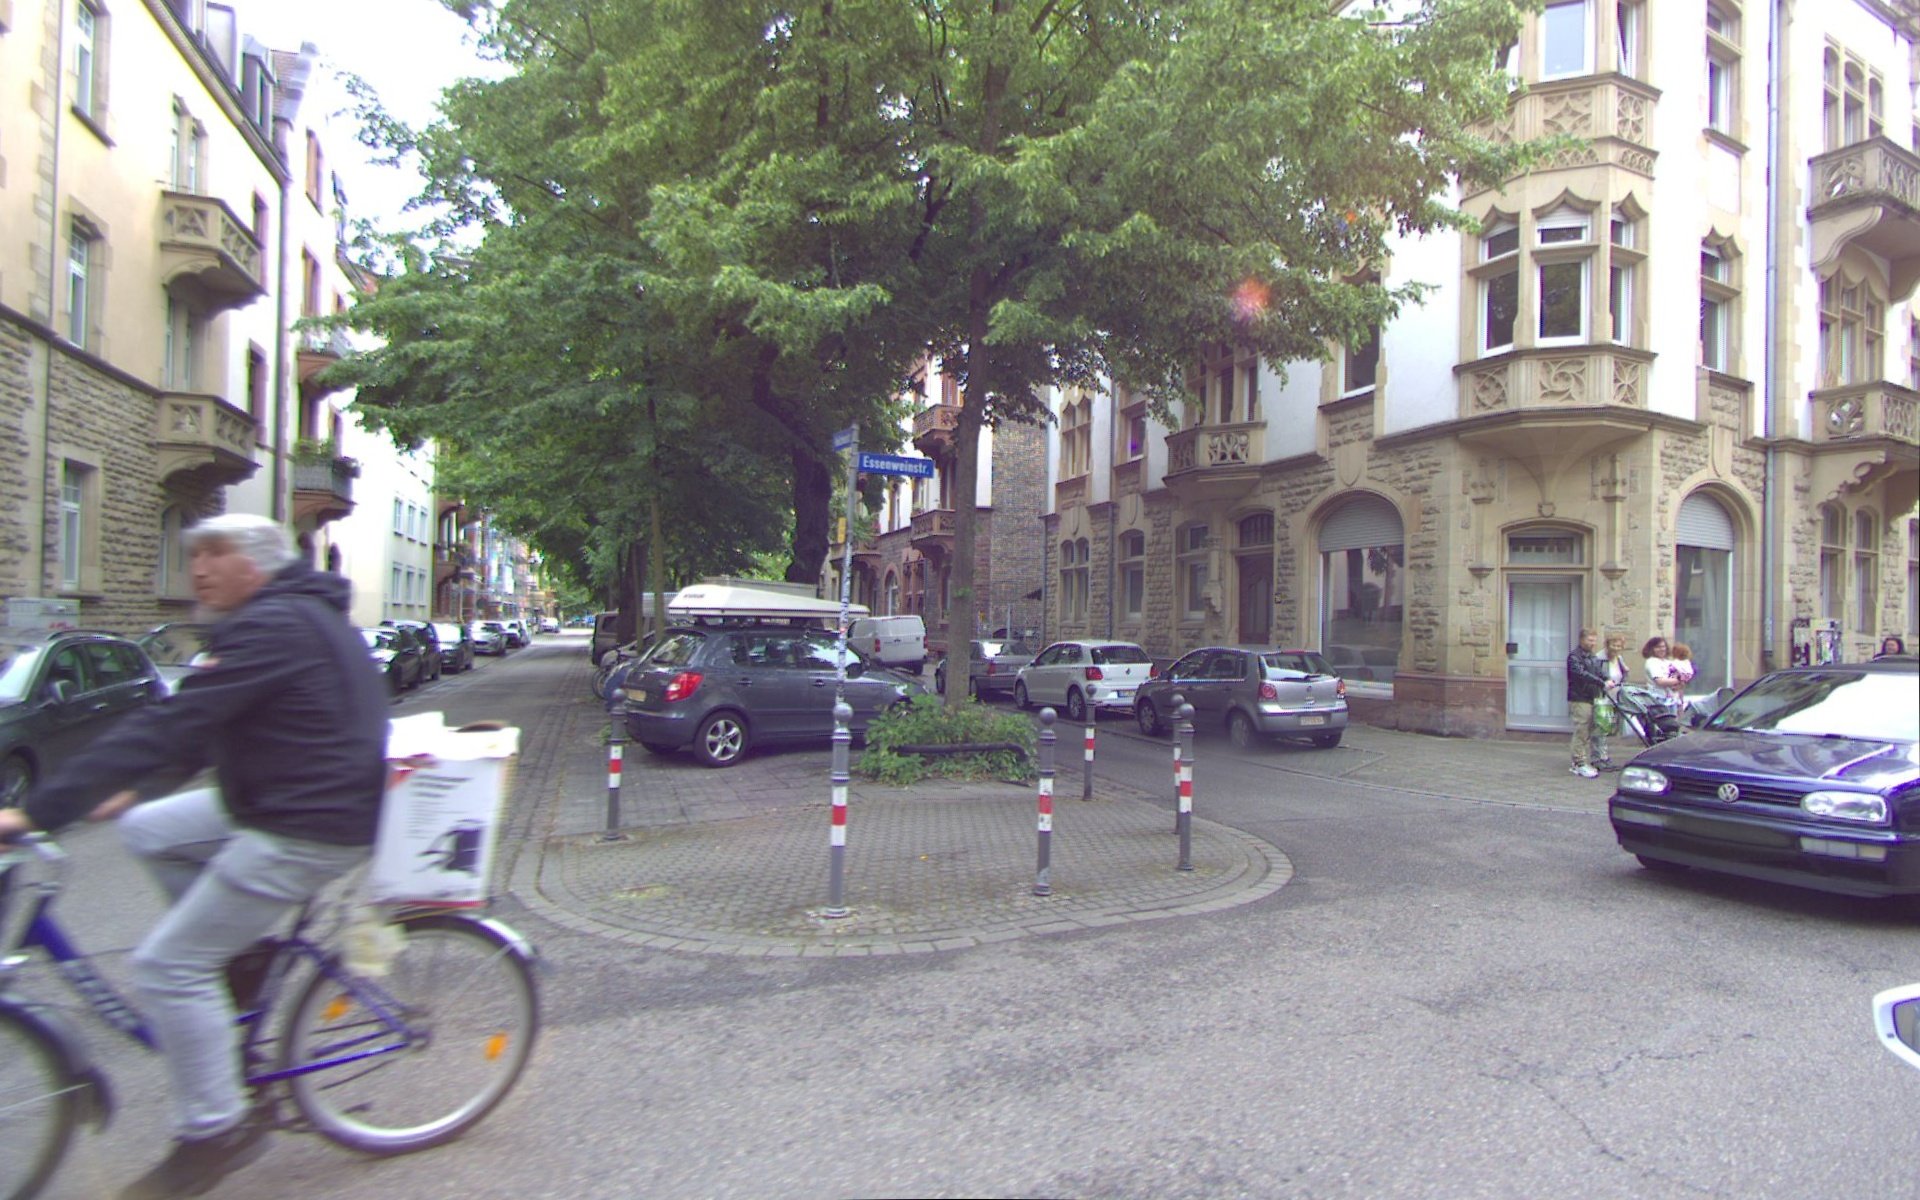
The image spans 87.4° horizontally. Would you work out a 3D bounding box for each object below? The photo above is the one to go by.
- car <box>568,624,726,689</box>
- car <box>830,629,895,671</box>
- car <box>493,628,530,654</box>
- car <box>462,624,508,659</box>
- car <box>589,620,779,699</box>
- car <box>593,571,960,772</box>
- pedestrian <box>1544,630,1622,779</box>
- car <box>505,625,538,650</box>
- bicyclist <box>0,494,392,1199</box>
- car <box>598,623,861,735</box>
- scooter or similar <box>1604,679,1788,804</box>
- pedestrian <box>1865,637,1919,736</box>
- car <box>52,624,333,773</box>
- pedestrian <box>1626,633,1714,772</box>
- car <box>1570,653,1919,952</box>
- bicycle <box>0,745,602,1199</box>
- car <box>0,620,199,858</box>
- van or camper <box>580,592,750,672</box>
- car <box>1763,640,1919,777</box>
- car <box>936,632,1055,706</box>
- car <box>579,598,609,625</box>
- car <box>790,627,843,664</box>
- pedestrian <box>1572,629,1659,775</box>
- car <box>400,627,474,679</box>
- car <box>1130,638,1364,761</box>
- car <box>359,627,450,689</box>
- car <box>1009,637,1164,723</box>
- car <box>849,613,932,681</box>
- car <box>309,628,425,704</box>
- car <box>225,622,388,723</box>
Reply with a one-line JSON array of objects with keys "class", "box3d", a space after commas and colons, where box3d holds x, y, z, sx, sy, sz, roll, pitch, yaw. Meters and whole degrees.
[{"class": "car", "box3d": [-8.487, 1.512, 27.322, 3.684, 1.537, 1.759, 2, -2, 15]}, {"class": "car", "box3d": [-3.646, 1.819, 36.988, 1.693, 1.416, 3.306, 2, -2, -18]}, {"class": "car", "box3d": [-23.529, 2.126, 52.766, 1.586, 1.264, 3.373, 1, -1, -22]}, {"class": "car", "box3d": [-20.408, 1.744, 43.263, 1.586, 1.424, 3.373, 1, -1, -22]}, {"class": "car", "box3d": [-5.914, 1.216, 21.591, 3.588, 1.500, 1.778, 1, 0, 22]}, {"class": "car", "box3d": [-2.070, 0.771, 11.966, 3.931, 1.994, 1.811, 2, -2, -41]}, {"class": "pedestrian", "box3d": [7.255, 1.200, 11.713, 0.520, 1.665, 0.527, 1, 0, -17]}, {"class": "car", "box3d": [-24.882, 2.134, 57.113, 1.586, 1.332, 3.373, 1, -1, -22]}, {"class": "bicyclist", "box3d": [-1.886, 0.569, 2.582, 0.668, 1.558, 0.645, 2, -2, -27]}, {"class": "car", "box3d": [-3.433, 1.155, 15.337, 3.540, 1.536, 1.655, 1, -1, 6]}, {"class": "scooter or similar", "box3d": [7.911, 1.486, 10.873, 0.665, 1.119, 1.468, 1, 1, -17]}, {"class": "pedestrian", "box3d": [14.865, 1.365, 16.012, 0.540, 1.538, 0.513, 1, -1, -29]}, {"class": "car", "box3d": [-9.452, 1.128, 12.796, 1.639, 1.485, 4.263, 5, -3, -22]}, {"class": "pedestrian", "box3d": [8.619, 1.224, 12.212, 0.656, 1.615, 0.632, 1, 0, 12]}, {"class": "car", "box3d": [6.000, 1.126, 6.629, 3.805, 1.432, 1.701, 3, -3, -28]}, {"class": "bicycle", "box3d": [-1.894, 1.011, 2.569, 1.776, 1.108, 0.631, 1, -1, -28]}, {"class": "car", "box3d": [-7.821, 0.971, 7.979, 1.639, 1.485, 4.263, 5, -3, -22]}, {"class": "van or camper", "box3d": [-9.777, 1.012, 33.264, 5.196, 2.494, 2.074, 0, -1, 22]}, {"class": "car", "box3d": [12.569, 1.383, 13.204, 3.951, 1.514, 1.702, 3, -1, -28]}, {"class": "car", "box3d": [0.773, 1.598, 23.968, 1.624, 1.479, 3.486, 3, -1, -20]}, {"class": "car", "box3d": [-27.929, 0.867, 76.592, 1.723, 1.906, 3.975, 3, -1, -24]}, {"class": "car", "box3d": [-6.369, 1.987, 44.395, 1.693, 1.529, 3.543, 2, -2, -18]}, {"class": "pedestrian", "box3d": [7.821, 1.193, 11.995, 0.594, 1.665, 0.616, 1, 0, -17]}, {"class": "car", "box3d": [-15.927, 1.578, 30.715, 1.556, 1.367, 3.494, 5, -3, -22]}, {"class": "car", "box3d": [4.152, 1.383, 15.104, 1.624, 1.479, 3.564, -1, 0, -20]}, {"class": "car", "box3d": [-14.436, 1.476, 26.274, 1.556, 1.367, 3.373, 5, -3, -22]}, {"class": "car", "box3d": [2.376, 1.507, 19.709, 1.624, 1.479, 3.486, 2, -2, -20]}, {"class": "car", "box3d": [-2.365, 1.493, 33.426, 1.882, 2.035, 3.517, 0, 1, -20]}, {"class": "car", "box3d": [-12.667, 1.373, 21.643, 1.556, 1.367, 3.373, 5, -3, -22]}, {"class": "car", "box3d": [-11.313, 1.209, 17.622, 1.639, 1.485, 3.373, 5, -3, -22]}]
